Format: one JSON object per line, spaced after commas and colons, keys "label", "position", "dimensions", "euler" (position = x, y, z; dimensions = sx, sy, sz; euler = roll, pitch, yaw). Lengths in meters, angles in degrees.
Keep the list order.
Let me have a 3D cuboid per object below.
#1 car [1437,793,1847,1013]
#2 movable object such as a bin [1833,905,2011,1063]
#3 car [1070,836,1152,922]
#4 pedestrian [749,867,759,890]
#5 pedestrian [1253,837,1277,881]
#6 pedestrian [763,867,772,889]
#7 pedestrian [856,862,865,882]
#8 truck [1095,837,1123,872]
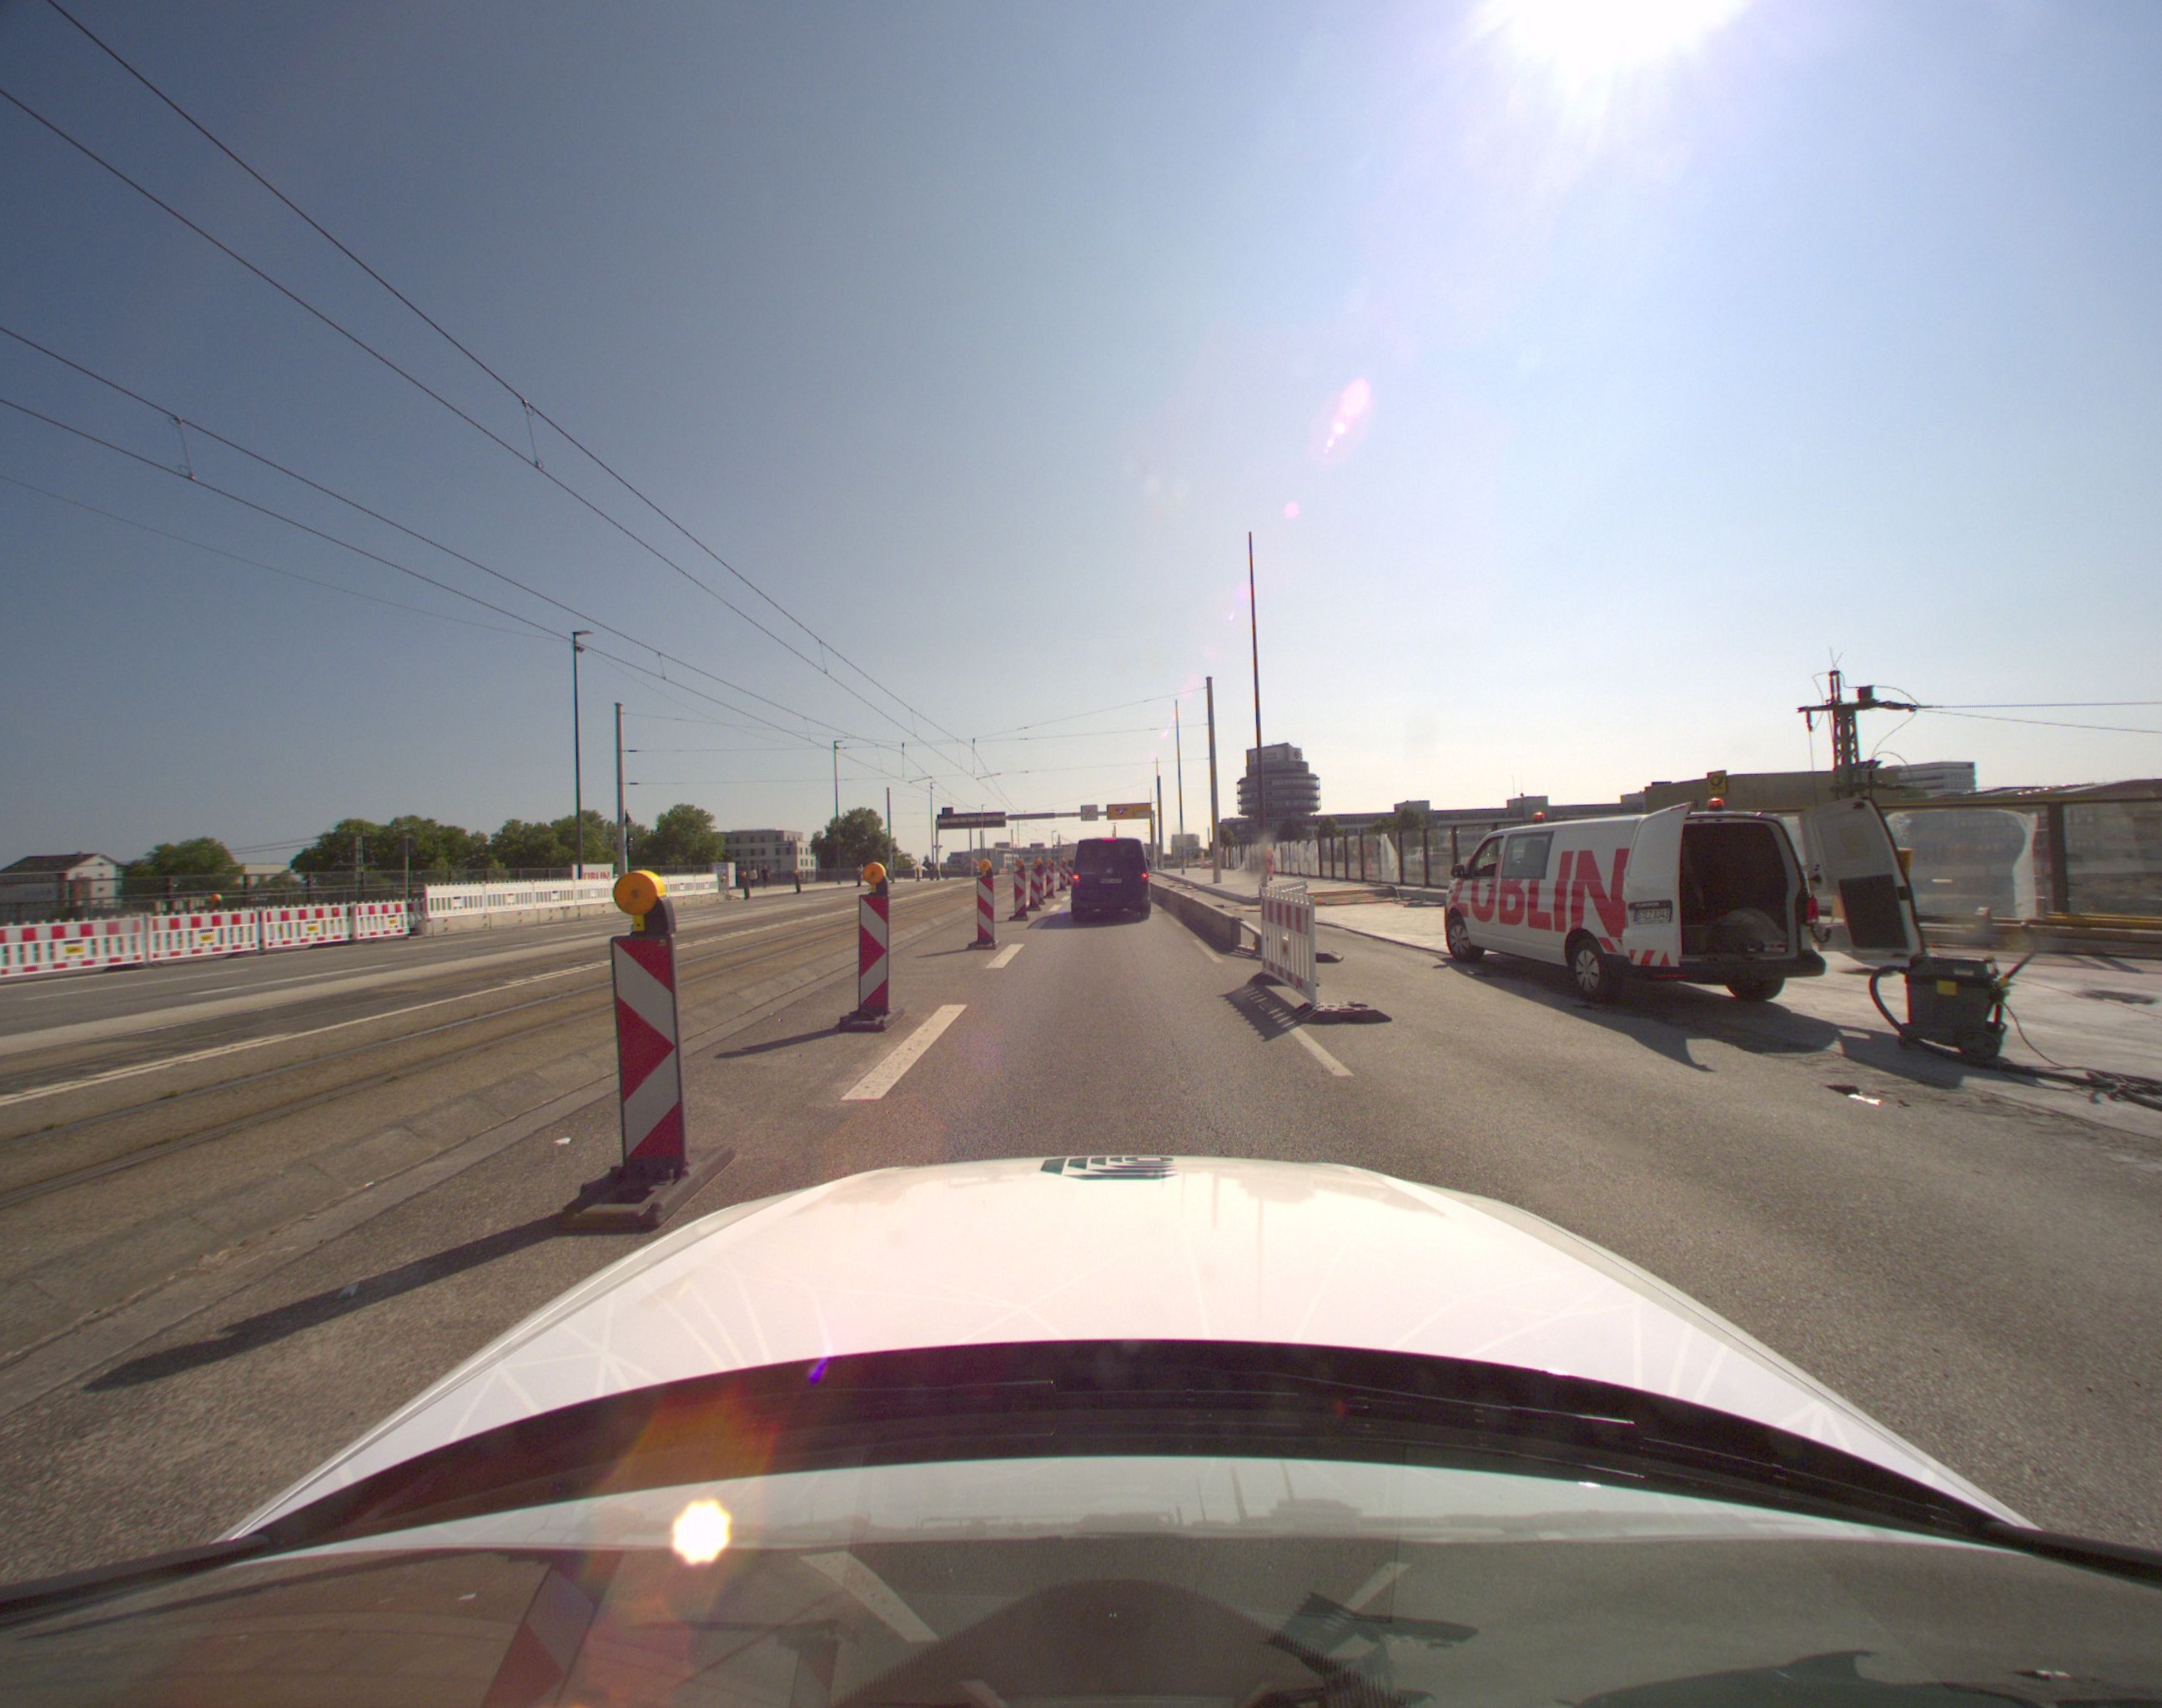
{"label": "car", "position": [6.319, 0.483, 10.085], "dimensions": [1.871, 2.033, 4.895], "euler": [-1, -1, 3]}
{"label": "movable object such as a bin", "position": [6.769, 0.985, 6.575], "dimensions": [0.896, 1.074, 0.931], "euler": [-1, 0, -42]}
{"label": "car", "position": [0.751, 0.564, 20.602], "dimensions": [1.809, 1.905, 4.056], "euler": [-2, 0, 2]}
{"label": "pedestrian", "position": [-24.593, 1.823, 61.229], "dimensions": [0.493, 1.694, 0.474], "euler": [-1, -1, 1]}
{"label": "pedestrian", "position": [8.420, 0.232, 37.292], "dimensions": [0.779, 1.935, 0.799], "euler": [-3, -1, 1]}
{"label": "pedestrian", "position": [-23.614, 1.800, 61.356], "dimensions": [0.493, 1.694, 0.474], "euler": [-1, -1, 1]}
{"label": "pedestrian", "position": [-21.489, 1.743, 79.427], "dimensions": [0.631, 1.893, 0.752], "euler": [-1, 0, 1]}
{"label": "truck", "position": [2.732, 0.029, 80.324], "dimensions": [2.451, 3.134, 11.220], "euler": [-2, 0, 2]}
